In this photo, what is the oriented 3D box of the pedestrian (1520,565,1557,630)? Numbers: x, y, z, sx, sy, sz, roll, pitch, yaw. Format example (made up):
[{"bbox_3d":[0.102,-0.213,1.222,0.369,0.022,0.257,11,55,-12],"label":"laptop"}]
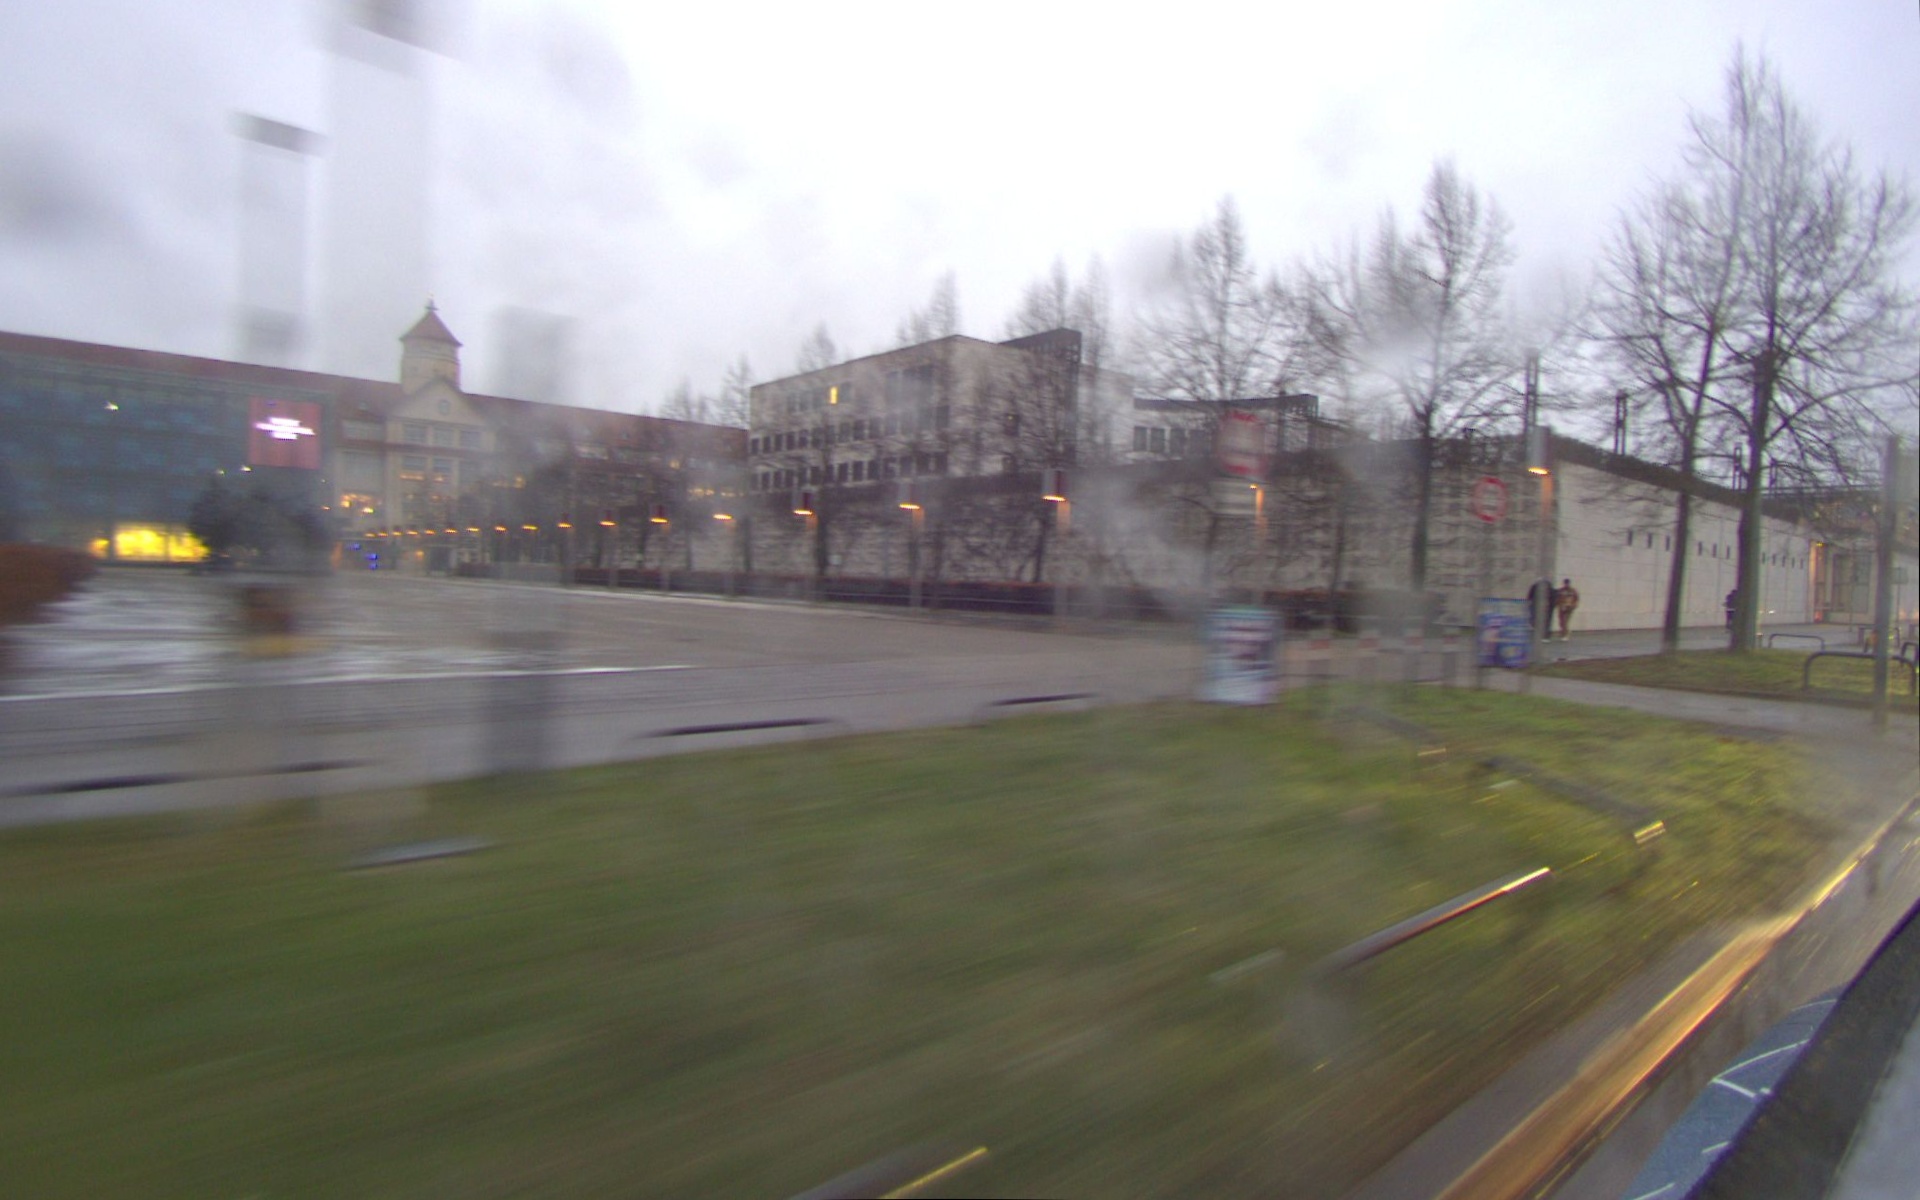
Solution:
[{"bbox_3d":[16.479,-0.072,28.834,0.602,1.800,0.676,0,0,-27],"label":"pedestrian"}]

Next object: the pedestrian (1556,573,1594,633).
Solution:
[{"bbox_3d":[16.949,0.089,27.906,0.602,1.632,0.676,0,0,-26],"label":"pedestrian"}]

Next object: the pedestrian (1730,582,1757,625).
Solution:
[{"bbox_3d":[30.993,0.125,40.037,0.667,1.675,0.979,3,3,44],"label":"pedestrian"}]

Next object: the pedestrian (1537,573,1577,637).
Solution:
[{"bbox_3d":[15.742,0.133,26.680,0.601,1.646,0.676,0,0,-25],"label":"pedestrian"}]
